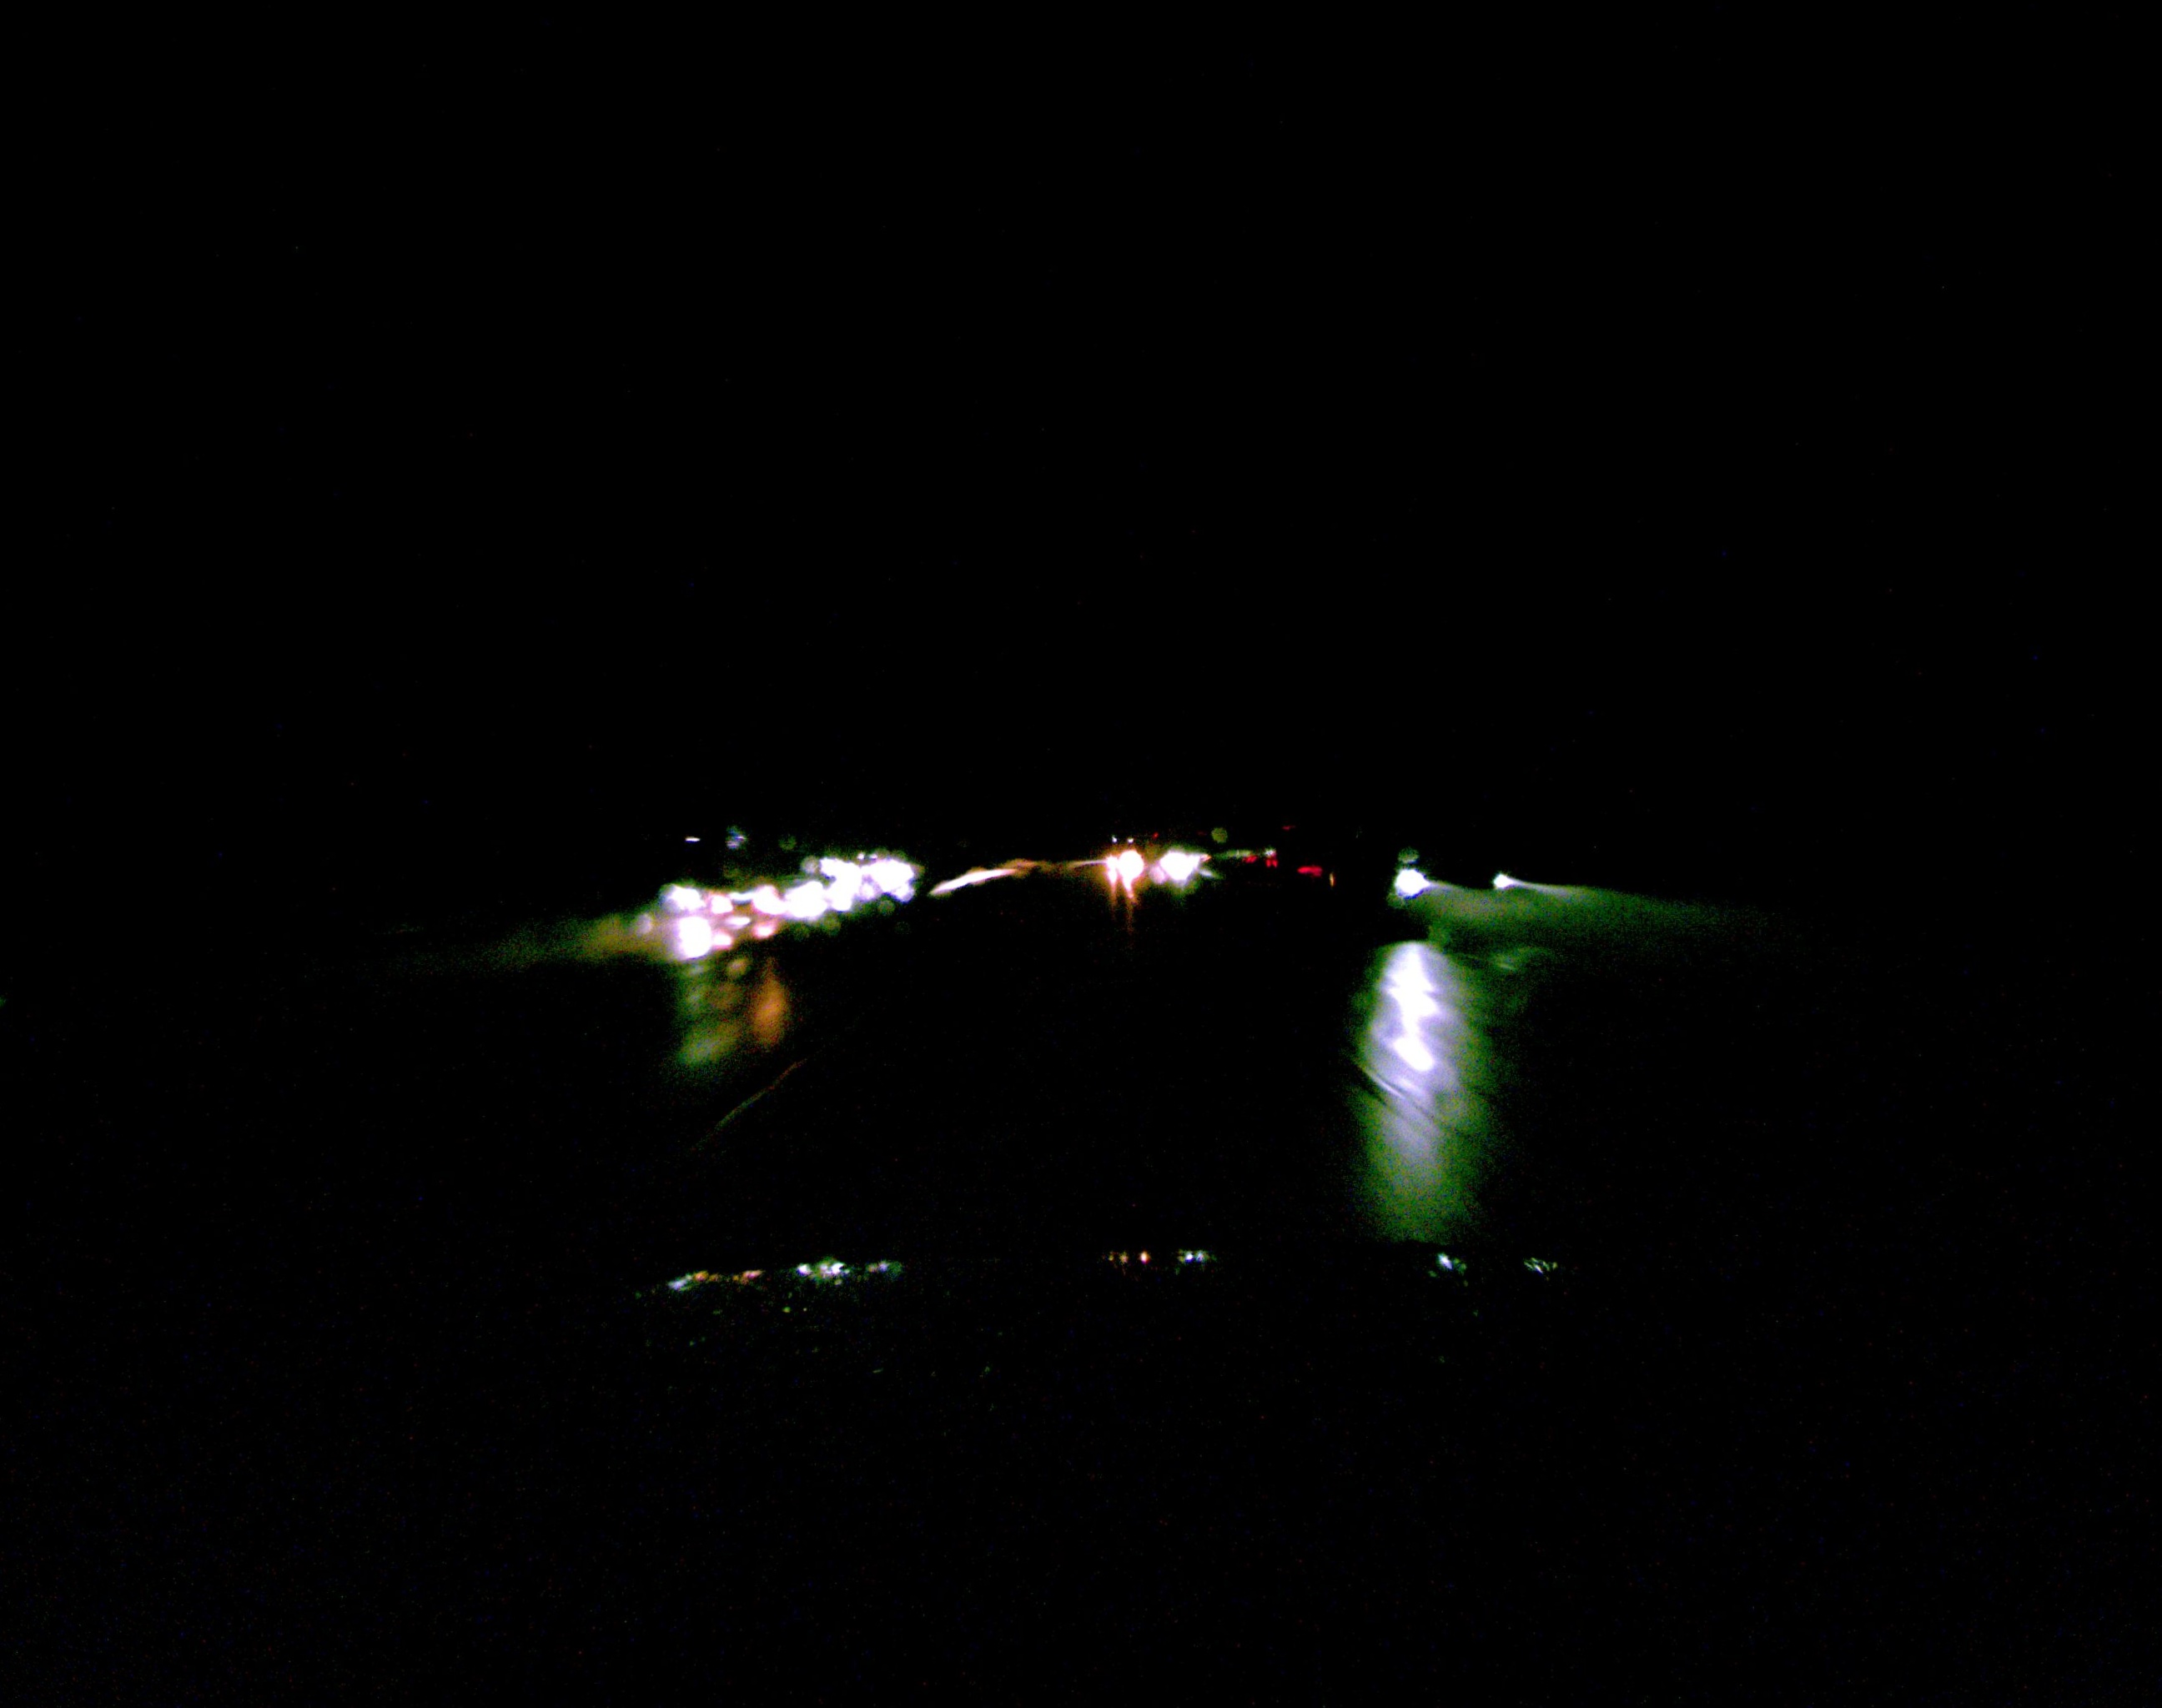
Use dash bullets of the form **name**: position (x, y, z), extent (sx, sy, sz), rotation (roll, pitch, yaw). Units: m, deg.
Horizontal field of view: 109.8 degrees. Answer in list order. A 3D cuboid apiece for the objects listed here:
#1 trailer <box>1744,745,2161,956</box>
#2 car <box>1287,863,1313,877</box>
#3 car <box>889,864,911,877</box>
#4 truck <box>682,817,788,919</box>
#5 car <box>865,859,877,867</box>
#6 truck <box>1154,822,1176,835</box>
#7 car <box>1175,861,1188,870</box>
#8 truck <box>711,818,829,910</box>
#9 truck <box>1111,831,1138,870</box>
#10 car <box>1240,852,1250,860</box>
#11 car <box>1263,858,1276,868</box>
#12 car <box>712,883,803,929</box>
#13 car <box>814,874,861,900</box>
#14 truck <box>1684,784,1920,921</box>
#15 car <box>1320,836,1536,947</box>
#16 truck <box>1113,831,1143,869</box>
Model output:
- **trailer**: position (24.401, -0.121, 19.394), extent (2.555, 4.518, 13.912), rotation (2, 2, 0)
- **car**: position (22.906, 1.668, 79.594), extent (1.666, 1.229, 3.761), rotation (2, 2, 1)
- **car**: position (-18.622, 1.651, 78.285), extent (1.713, 1.286, 3.989), rotation (1, -1, -7)
- **truck**: position (-15.628, 0.518, 34.846), extent (2.767, 4.199, 6.188), rotation (1, 2, -8)
- **car**: position (-36.254, 1.617, 131.314), extent (1.713, 1.286, 3.988), rotation (1, -1, -11)
- **truck**: position (25.788, -7.763, 234.132), extent (2.419, 3.759, 11.212), rotation (1, 2, -17)
- **car**: position (15.065, 1.766, 113.956), extent (1.710, 1.286, 3.994), rotation (1, -1, 6)
- **truck**: position (-16.673, 0.265, 42.053), extent (2.767, 4.199, 13.812), rotation (1, 2, -8)
- **truck**: position (4.947, -0.469, 85.740), extent (2.502, 4.224, 5.984), rotation (2, 2, 7)
- **car**: position (38.080, 0.382, 176.886), extent (1.775, 1.623, 4.001), rotation (2, 2, 6)
- **car**: position (33.536, 1.551, 135.297), extent (1.775, 1.622, 4.002), rotation (2, 0, 6)
- **car**: position (-10.532, 1.658, 25.043), extent (1.712, 1.286, 3.989), rotation (1, -1, -7)
- **car**: position (-13.092, 1.738, 41.084), extent (1.712, 1.286, 3.989), rotation (1, -1, -7)
- **truck**: position (24.368, -0.114, 26.157), extent (2.544, 4.132, 5.640), rotation (2, 2, 0)
- **car**: position (6.941, 0.594, 16.069), extent (2.142, 1.874, 5.554), rotation (2, 2, 2)
- **truck**: position (5.805, -0.602, 92.284), extent (2.501, 4.224, 13.647), rotation (2, 2, 8)
